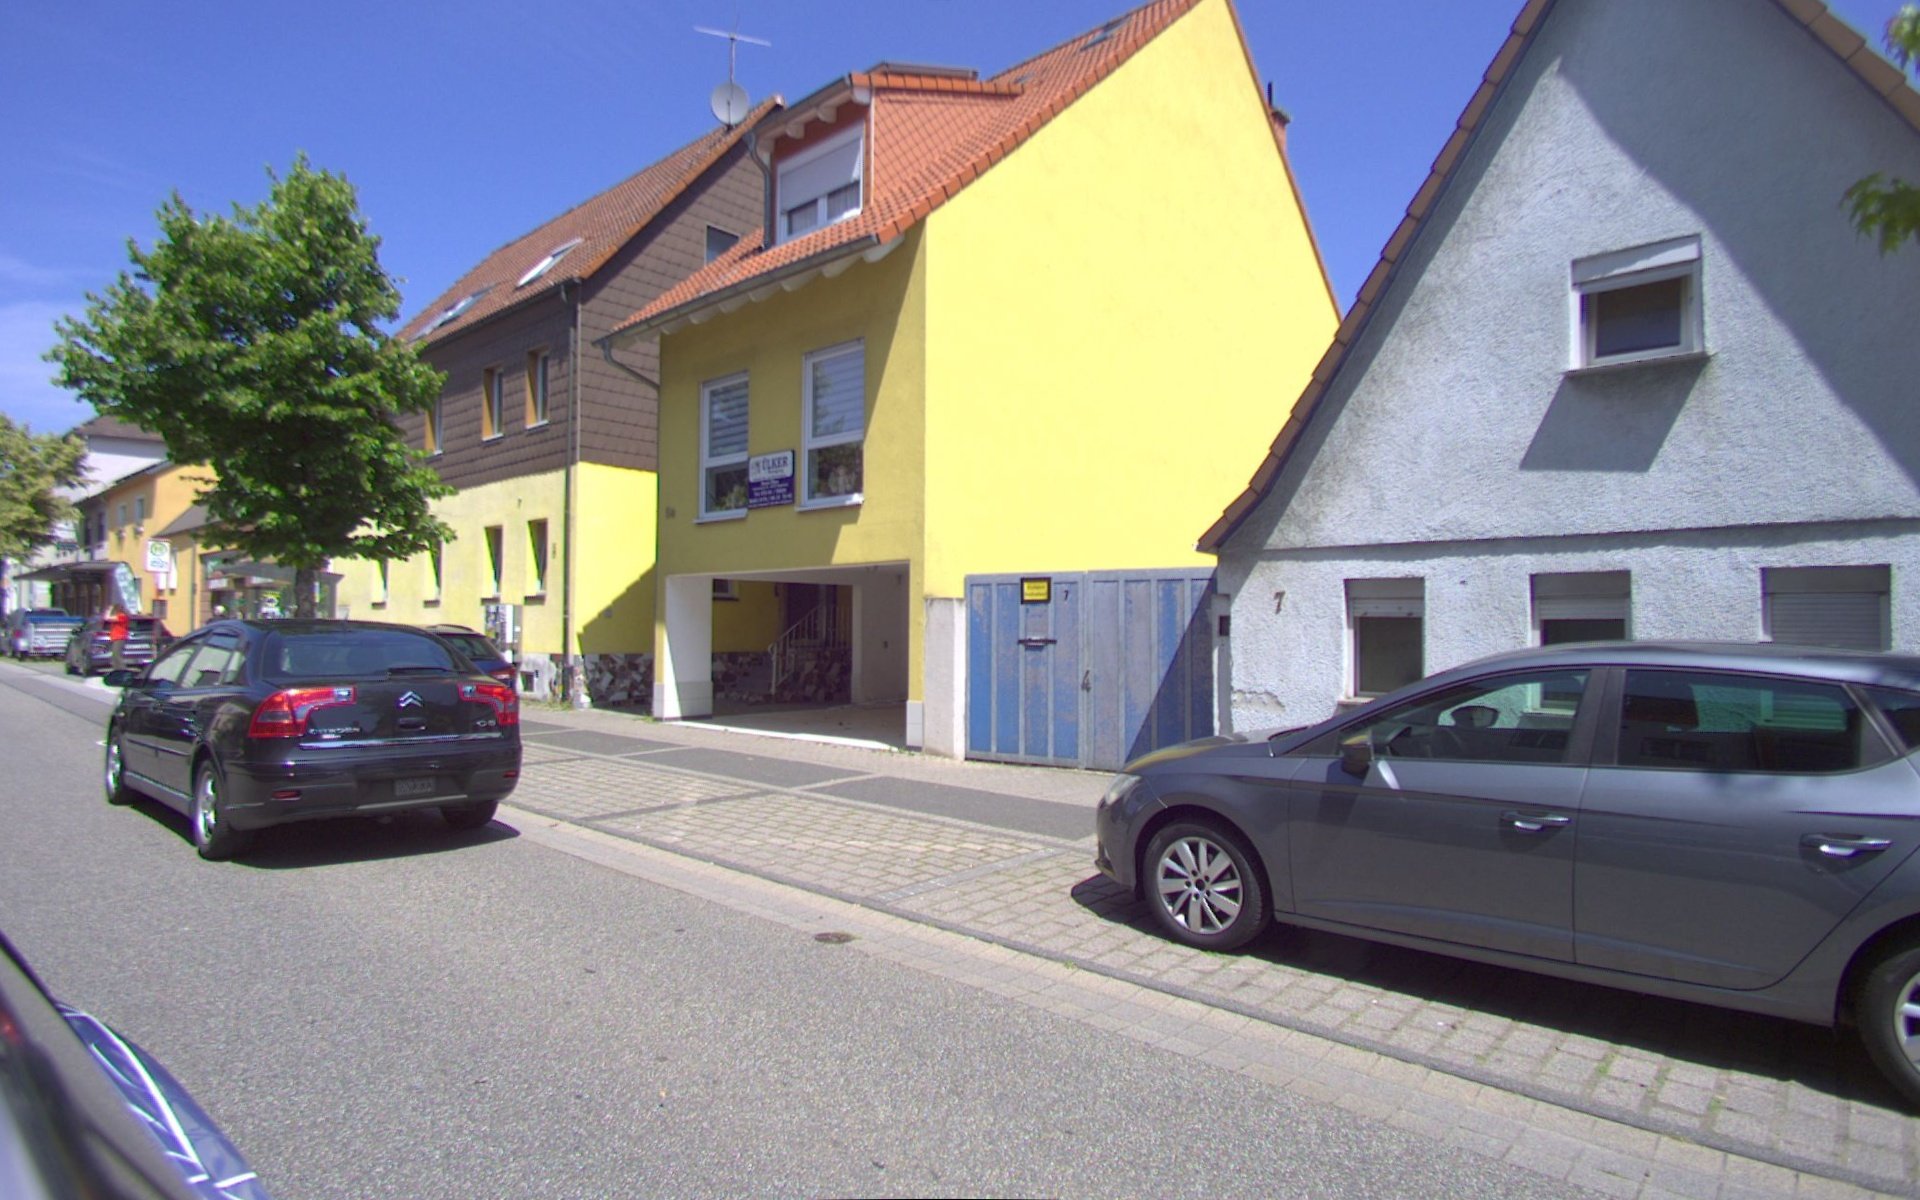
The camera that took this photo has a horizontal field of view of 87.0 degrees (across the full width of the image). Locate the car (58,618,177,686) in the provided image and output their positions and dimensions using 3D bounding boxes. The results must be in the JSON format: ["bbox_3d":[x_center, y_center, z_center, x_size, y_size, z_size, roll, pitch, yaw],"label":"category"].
[{"bbox_3d":[-21.491,1.269,25.759,4.157,1.587,1.730,-1,-2,42],"label":"car"}]

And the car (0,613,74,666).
[{"bbox_3d":[-33.931,1.410,37.008,3.997,1.765,1.674,-1,0,40],"label":"car"}]

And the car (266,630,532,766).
[{"bbox_3d":[-7.122,1.090,12.664,4.157,1.418,1.638,-1,-2,42],"label":"car"}]

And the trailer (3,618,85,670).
[{"bbox_3d":[-30.932,1.455,34.151,3.879,1.593,1.474,-2,1,40],"label":"trailer"}]

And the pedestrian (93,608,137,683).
[{"bbox_3d":[-19.041,1.022,22.807,0.624,1.668,0.635,-1,-3,41],"label":"pedestrian"}]

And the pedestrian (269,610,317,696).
[{"bbox_3d":[-12.766,1.008,19.362,0.528,1.614,0.623,-1,-2,42],"label":"pedestrian"}]

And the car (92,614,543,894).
[{"bbox_3d":[-4.822,0.892,7.366,3.998,1.484,1.671,-1,-4,41],"label":"car"}]

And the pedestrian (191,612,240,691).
[{"bbox_3d":[-15.466,1.061,21.028,0.770,1.614,0.654,-1,-2,42],"label":"pedestrian"}]

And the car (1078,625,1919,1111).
[{"bbox_3d":[2.657,0.848,4.324,4.097,1.441,1.628,-1,-3,42],"label":"car"}]

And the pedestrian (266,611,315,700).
[{"bbox_3d":[-12.421,1.011,18.780,0.528,1.614,0.623,-1,-2,42],"label":"pedestrian"}]
